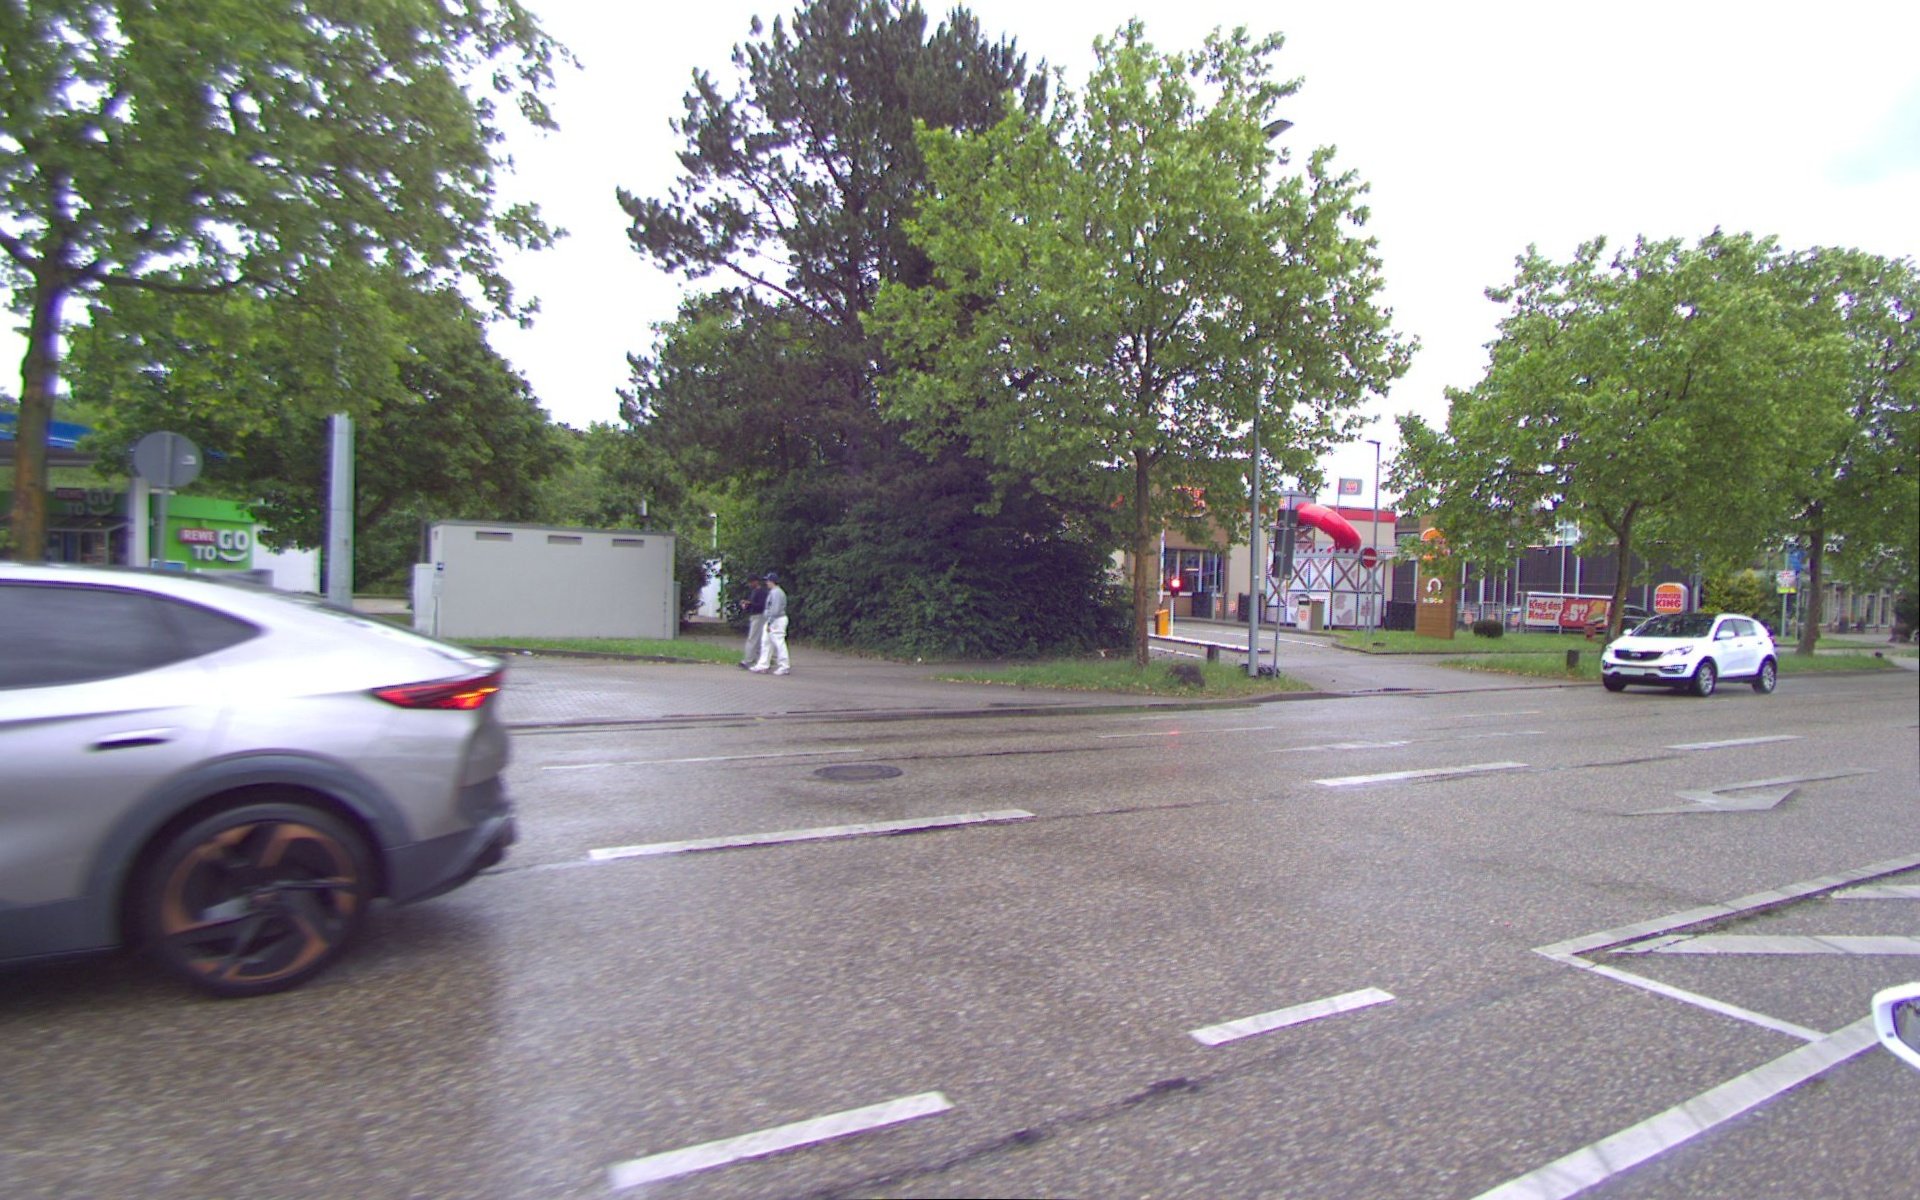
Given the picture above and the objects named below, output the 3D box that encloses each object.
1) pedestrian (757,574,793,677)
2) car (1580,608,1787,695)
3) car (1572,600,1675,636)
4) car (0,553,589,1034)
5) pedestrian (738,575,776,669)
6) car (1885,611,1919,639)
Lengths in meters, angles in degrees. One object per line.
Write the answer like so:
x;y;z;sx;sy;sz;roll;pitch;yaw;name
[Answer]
-3.294;0.436;17.884;0.572;1.790;0.665;1;1;-9;pedestrian
15.332;1.059;21.251;4.346;1.641;1.919;2;-1;-30;car
26.346;0.697;39.973;1.273;1.171;3.166;1;3;-24;car
-3.988;0.623;3.855;4.546;1.582;1.802;2;-1;-31;car
-3.770;0.407;18.632;0.534;1.705;0.509;1;0;-31;pedestrian
55.491;1.452;58.300;3.899;1.506;1.812;1;0;-35;car
